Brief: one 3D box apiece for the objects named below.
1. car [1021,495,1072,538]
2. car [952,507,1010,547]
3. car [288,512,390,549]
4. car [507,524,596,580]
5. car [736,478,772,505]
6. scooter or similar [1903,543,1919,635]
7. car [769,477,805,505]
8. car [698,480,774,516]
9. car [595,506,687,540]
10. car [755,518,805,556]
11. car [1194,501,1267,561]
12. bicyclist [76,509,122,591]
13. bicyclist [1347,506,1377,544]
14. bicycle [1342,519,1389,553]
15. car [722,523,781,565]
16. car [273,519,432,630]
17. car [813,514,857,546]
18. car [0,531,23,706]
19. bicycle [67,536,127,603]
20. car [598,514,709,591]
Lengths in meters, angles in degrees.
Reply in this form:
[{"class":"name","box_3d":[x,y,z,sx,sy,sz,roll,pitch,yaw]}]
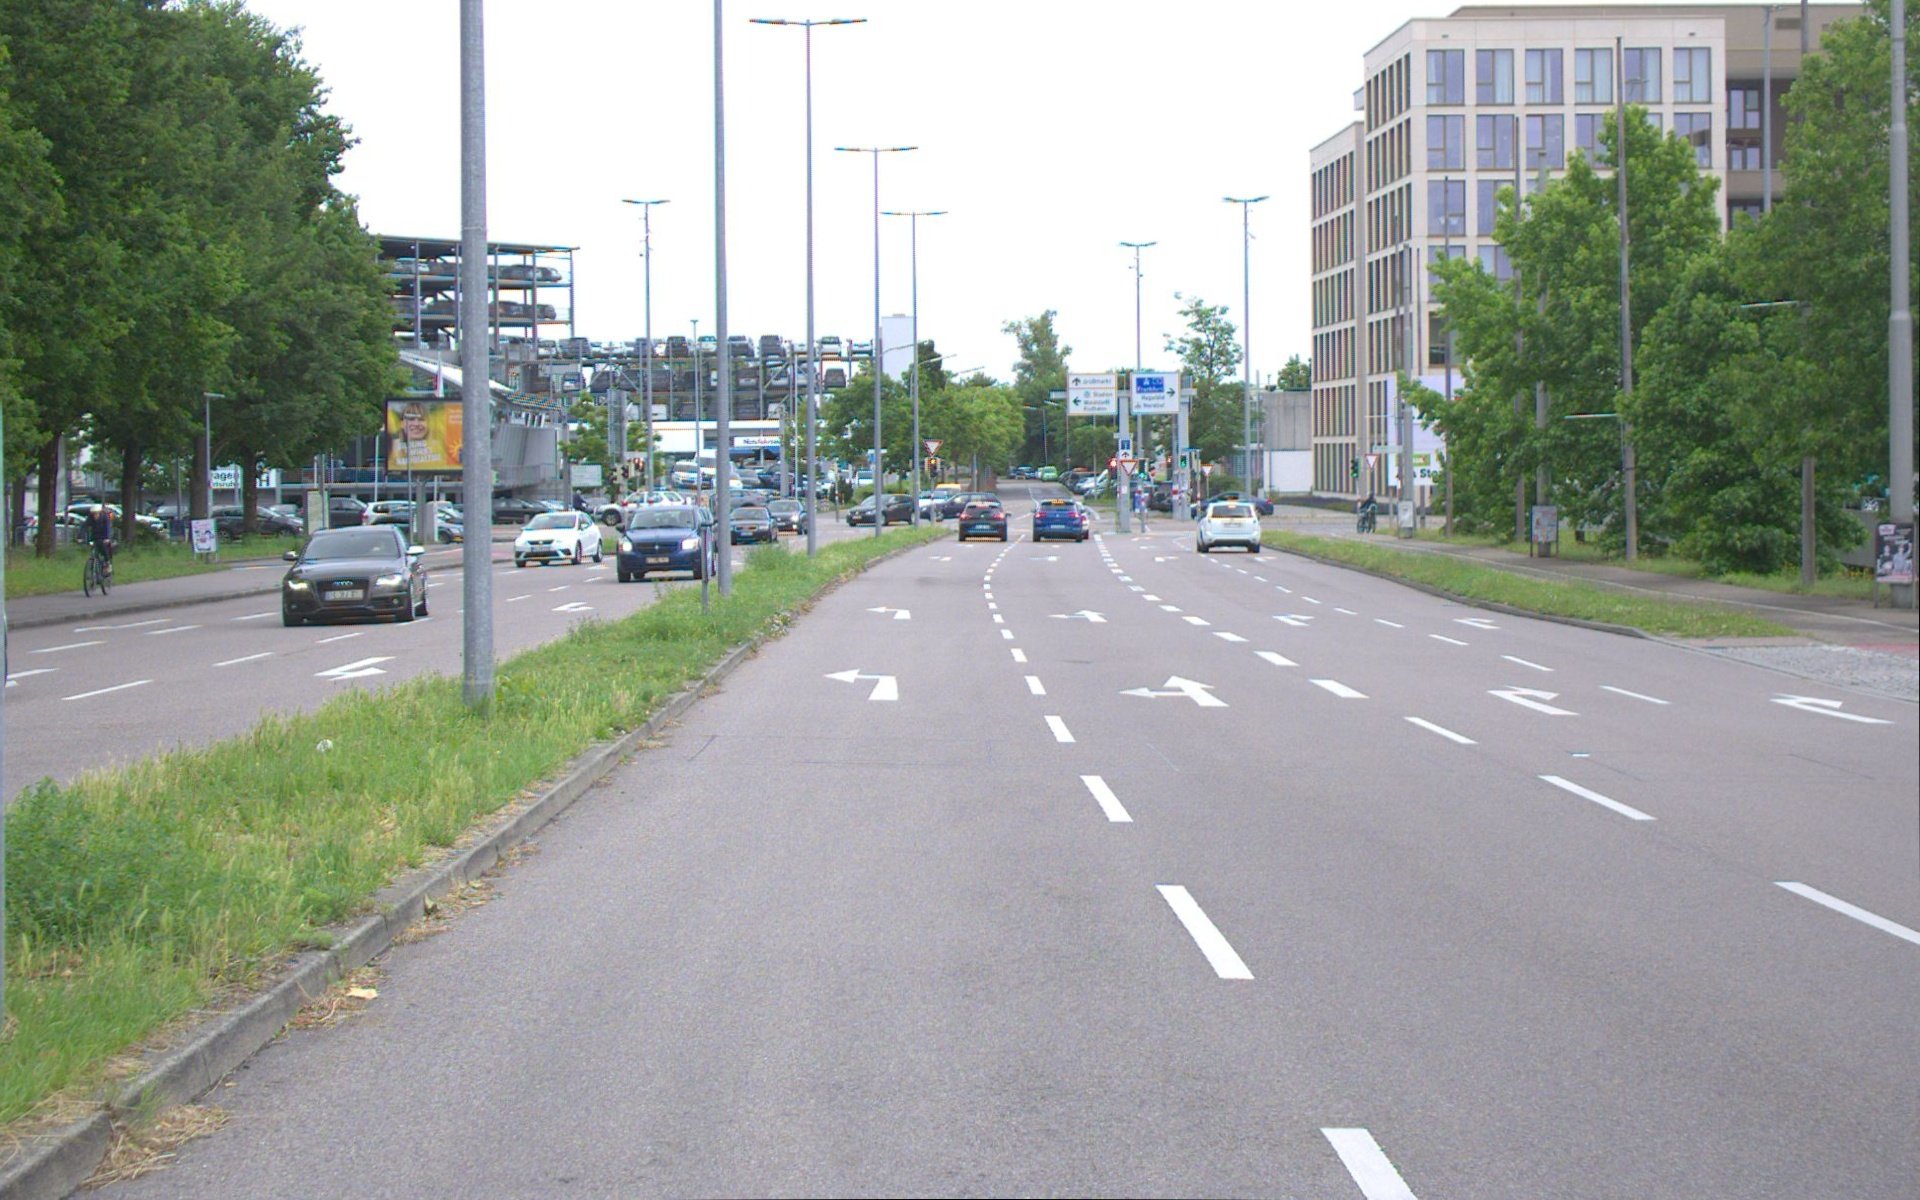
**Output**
[{"class":"car","box_3d":[3.135,-3.046,125.303,1.835,1.509,4.000,0,1,1]},{"class":"car","box_3d":[0.742,-2.632,124.295,1.987,1.423,4.241,0,1,-1]},{"class":"car","box_3d":[-28.291,-3.160,156.799,4.415,1.654,2.000,0,1,-5]},{"class":"car","box_3d":[-11.143,-1.325,94.043,1.866,1.449,4.169,-2,1,0]},{"class":"car","box_3d":[-13.542,-7.158,226.346,1.776,1.700,3.916,0,4,6]},{"class":"scooter or similar","box_3d":[15.298,-0.184,54.116,0.650,1.416,1.818,-1,1,9]},{"class":"car","box_3d":[-11.351,-7.180,226.326,1.776,1.700,3.916,0,4,6]},{"class":"car","box_3d":[-11.847,-5.415,182.181,3.986,1.784,1.848,0,3,-3]},{"class":"car","box_3d":[-15.542,-3.760,167.619,4.415,1.654,2.000,0,1,-5]},{"class":"car","box_3d":[-7.469,-2.622,142.635,1.780,1.450,4.182,-2,2,0]},{"class":"car","box_3d":[8.078,-2.084,103.067,1.993,1.746,4.180,0,2,2]},{"class":"bicyclist","box_3d":[-16.835,-0.990,67.204,0.640,1.572,1.000,1,2,0]},{"class":"bicyclist","box_3d":[16.182,-3.010,138.385,0.700,1.498,1.000,-1,2,-35]},{"class":"bicycle","box_3d":[16.312,-2.579,138.215,0.700,1.291,2.011,-1,3,-35]},{"class":"car","box_3d":[-7.575,-2.055,125.138,1.772,1.447,4.405,-2,1,1]},{"class":"car","box_3d":[-8.838,-0.413,50.344,1.882,1.431,4.433,-3,2,-5]},{"class":"car","box_3d":[-5.818,-3.254,159.420,1.930,1.450,4.183,0,2,-4]},{"class":"car","box_3d":[-9.301,0.230,28.284,1.931,1.514,4.182,-3,1,1]},{"class":"bicycle","box_3d":[-16.861,-0.612,67.197,0.642,1.246,2.056,1,2,0]},{"class":"car","box_3d":[-6.311,-1.000,71.180,1.931,1.481,4.440,-2,1,-1]}]
